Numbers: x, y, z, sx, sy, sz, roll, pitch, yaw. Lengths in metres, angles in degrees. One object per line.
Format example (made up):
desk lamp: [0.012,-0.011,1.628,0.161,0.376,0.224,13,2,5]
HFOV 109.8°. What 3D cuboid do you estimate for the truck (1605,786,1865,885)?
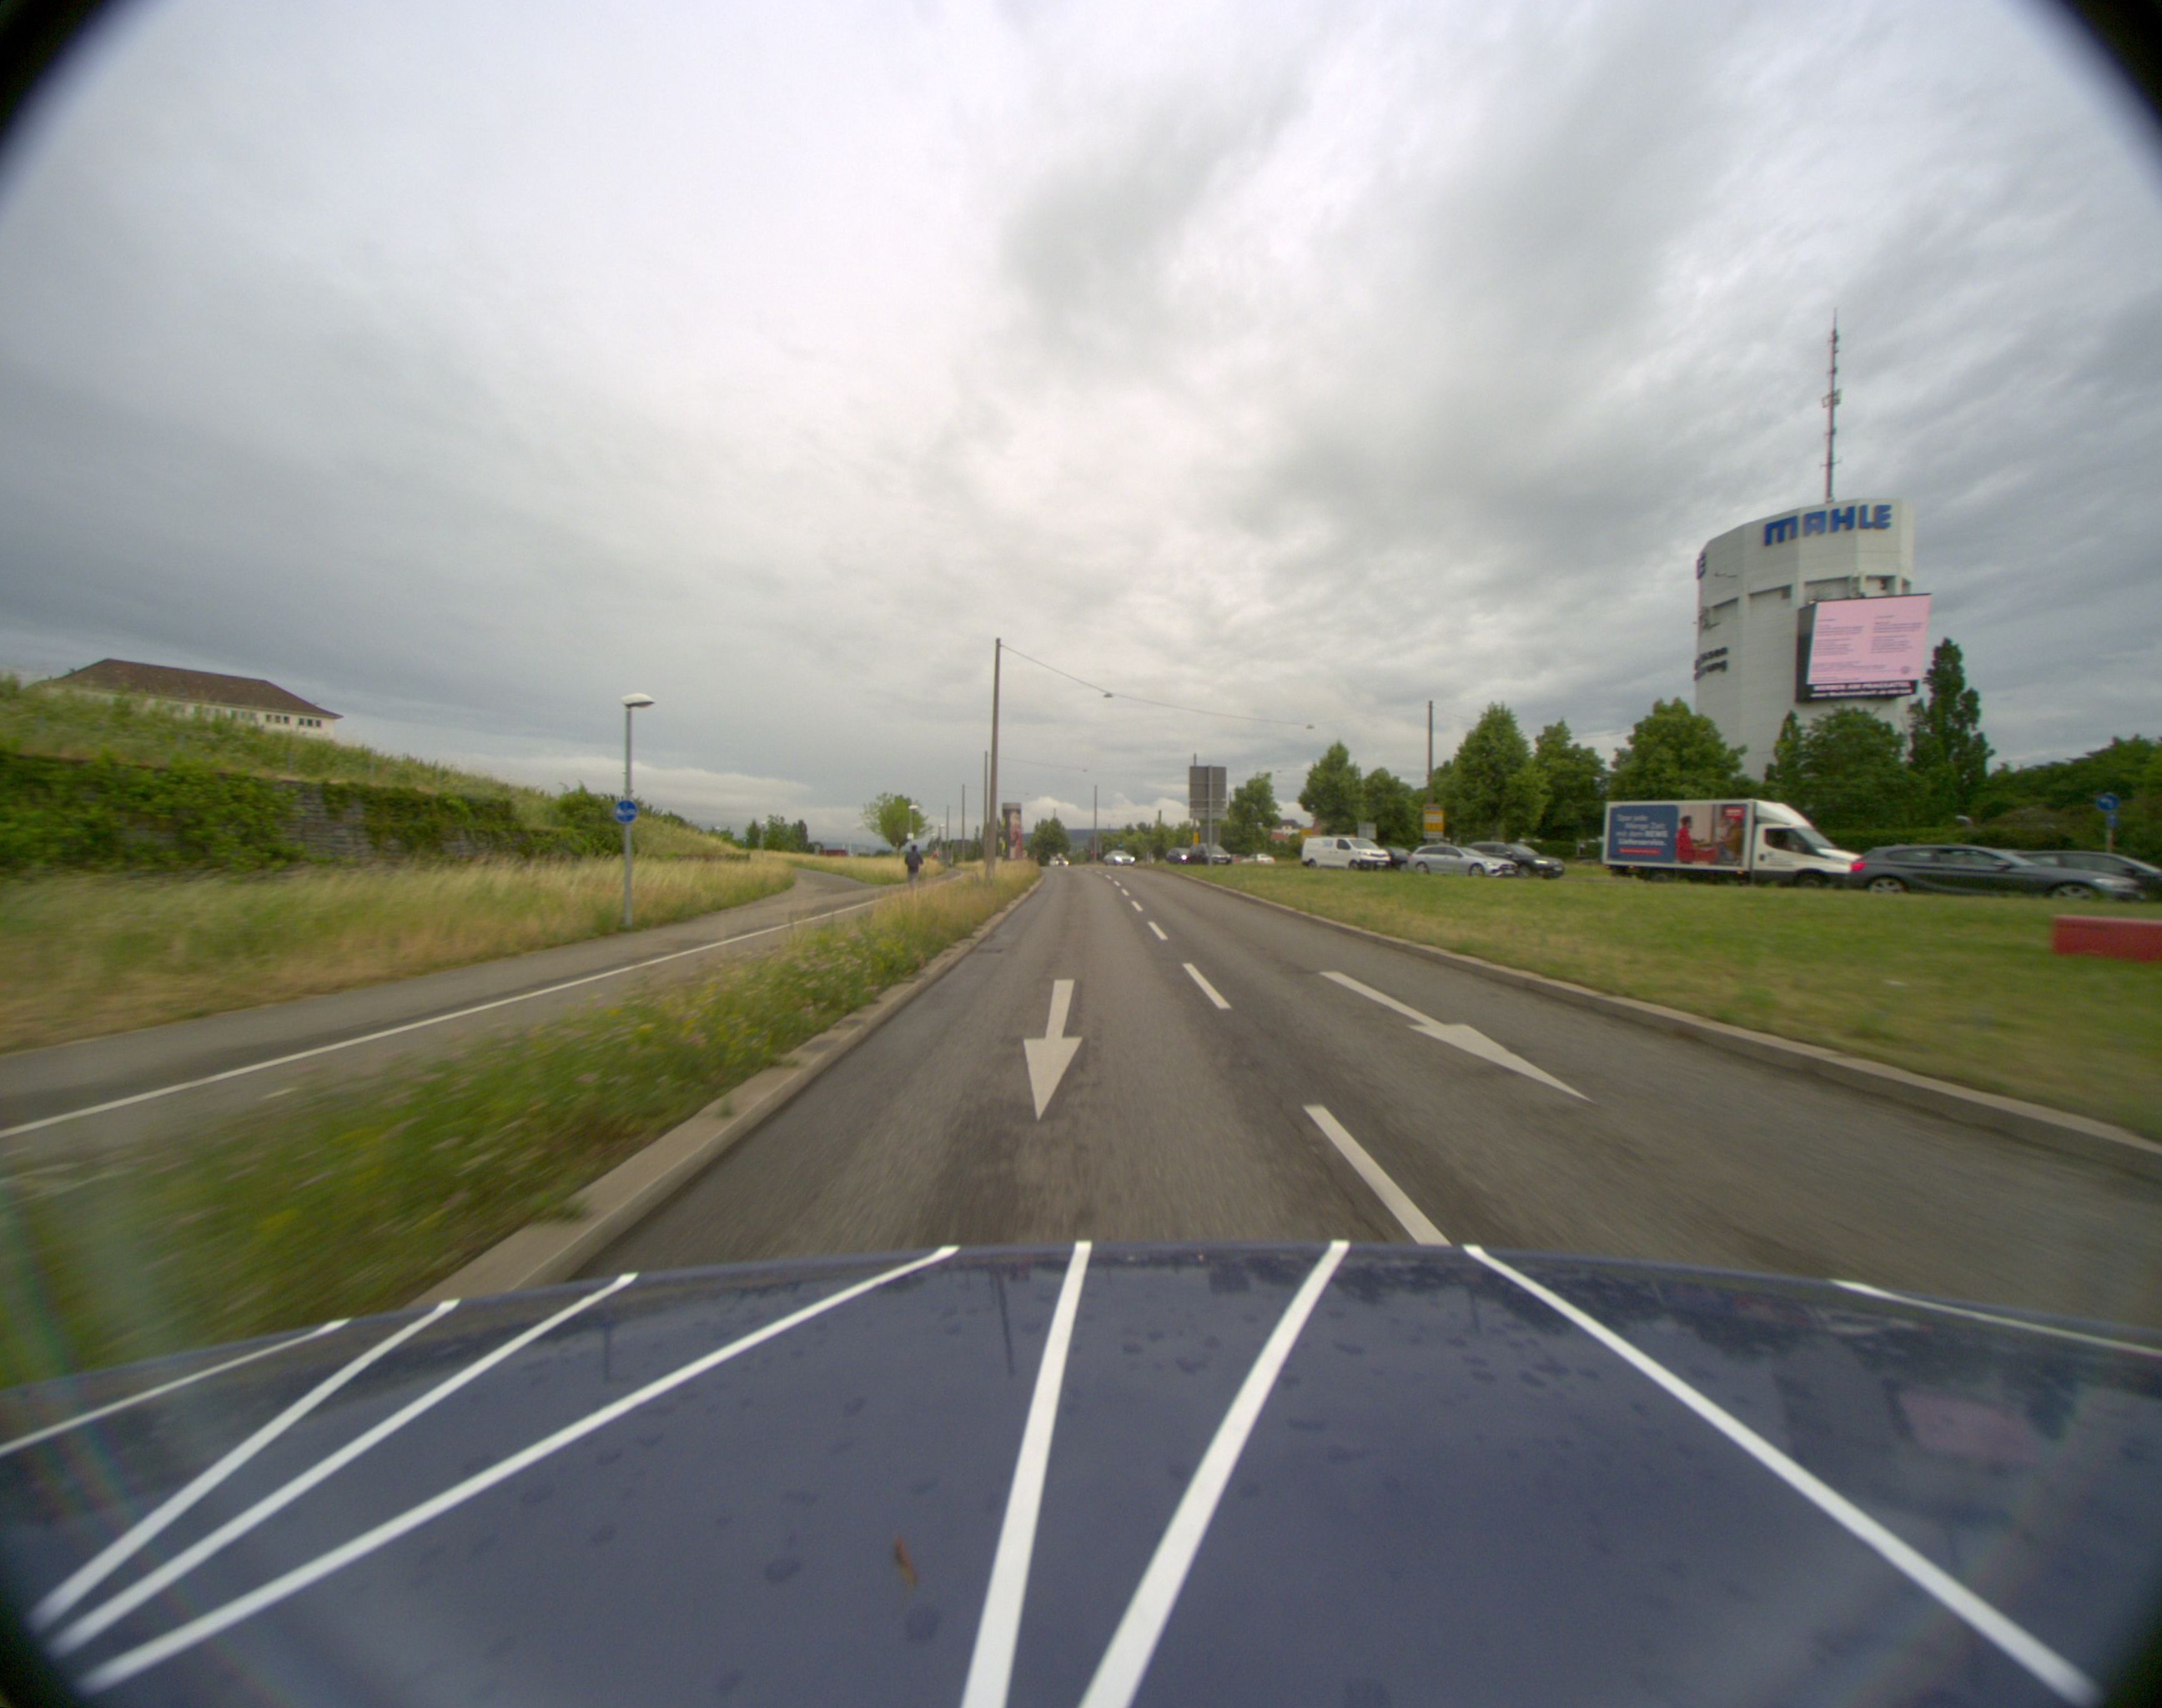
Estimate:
truck: [20.915,-0.542,24.705,2.134,2.818,6.017,-3,1,-31]

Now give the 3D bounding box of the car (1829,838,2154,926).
car: [20.647,0.559,17.495,2.003,1.673,4.510,-3,1,-30]

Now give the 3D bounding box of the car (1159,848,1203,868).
car: [8.768,0.336,66.832,2.001,1.673,4.513,-2,1,-19]

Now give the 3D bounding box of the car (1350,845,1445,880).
car: [16.752,0.416,40.468,2.002,1.673,4.512,-3,1,-23]

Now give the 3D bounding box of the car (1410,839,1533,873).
car: [16.812,0.066,32.979,2.002,1.303,4.522,-3,1,-23]

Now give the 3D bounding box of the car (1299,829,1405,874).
car: [14.083,-0.139,39.866,2.376,2.169,5.299,-2,1,-20]

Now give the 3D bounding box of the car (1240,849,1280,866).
car: [19.206,0.353,81.780,2.003,1.652,3.991,-3,1,-27]

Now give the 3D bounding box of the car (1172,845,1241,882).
car: [7.892,0.557,48.324,2.002,2.169,5.161,-3,1,-20]

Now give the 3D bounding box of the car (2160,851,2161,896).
car: [45.077,0.769,29.093,1.819,1.807,3.993,-2,1,-18]

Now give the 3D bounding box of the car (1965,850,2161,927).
car: [24.816,0.785,18.189,2.003,1.673,4.509,-3,1,-32]

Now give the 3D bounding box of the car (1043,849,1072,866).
car: [-2.592,0.357,82.871,2.001,1.790,5.163,-2,1,-14]

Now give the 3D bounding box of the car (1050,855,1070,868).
car: [-3.102,1.112,112.806,2.001,1.772,3.994,-2,1,-16]

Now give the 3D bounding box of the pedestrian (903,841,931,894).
pedestrian: [-5.553,0.452,25.669,0.801,1.714,0.988,-2,1,-15]

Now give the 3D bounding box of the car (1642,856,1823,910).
car: [23.261,0.965,27.310,2.003,1.673,4.510,-3,1,-30]

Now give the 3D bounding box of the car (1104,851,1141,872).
car: [3.843,0.664,71.261,2.001,1.790,5.163,-2,1,-14]

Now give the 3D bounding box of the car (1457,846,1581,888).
car: [19.531,0.550,34.098,2.002,1.673,4.512,-3,1,-23]

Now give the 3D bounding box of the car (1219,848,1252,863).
car: [18.780,0.189,92.430,2.002,1.652,3.992,-3,1,-24]
